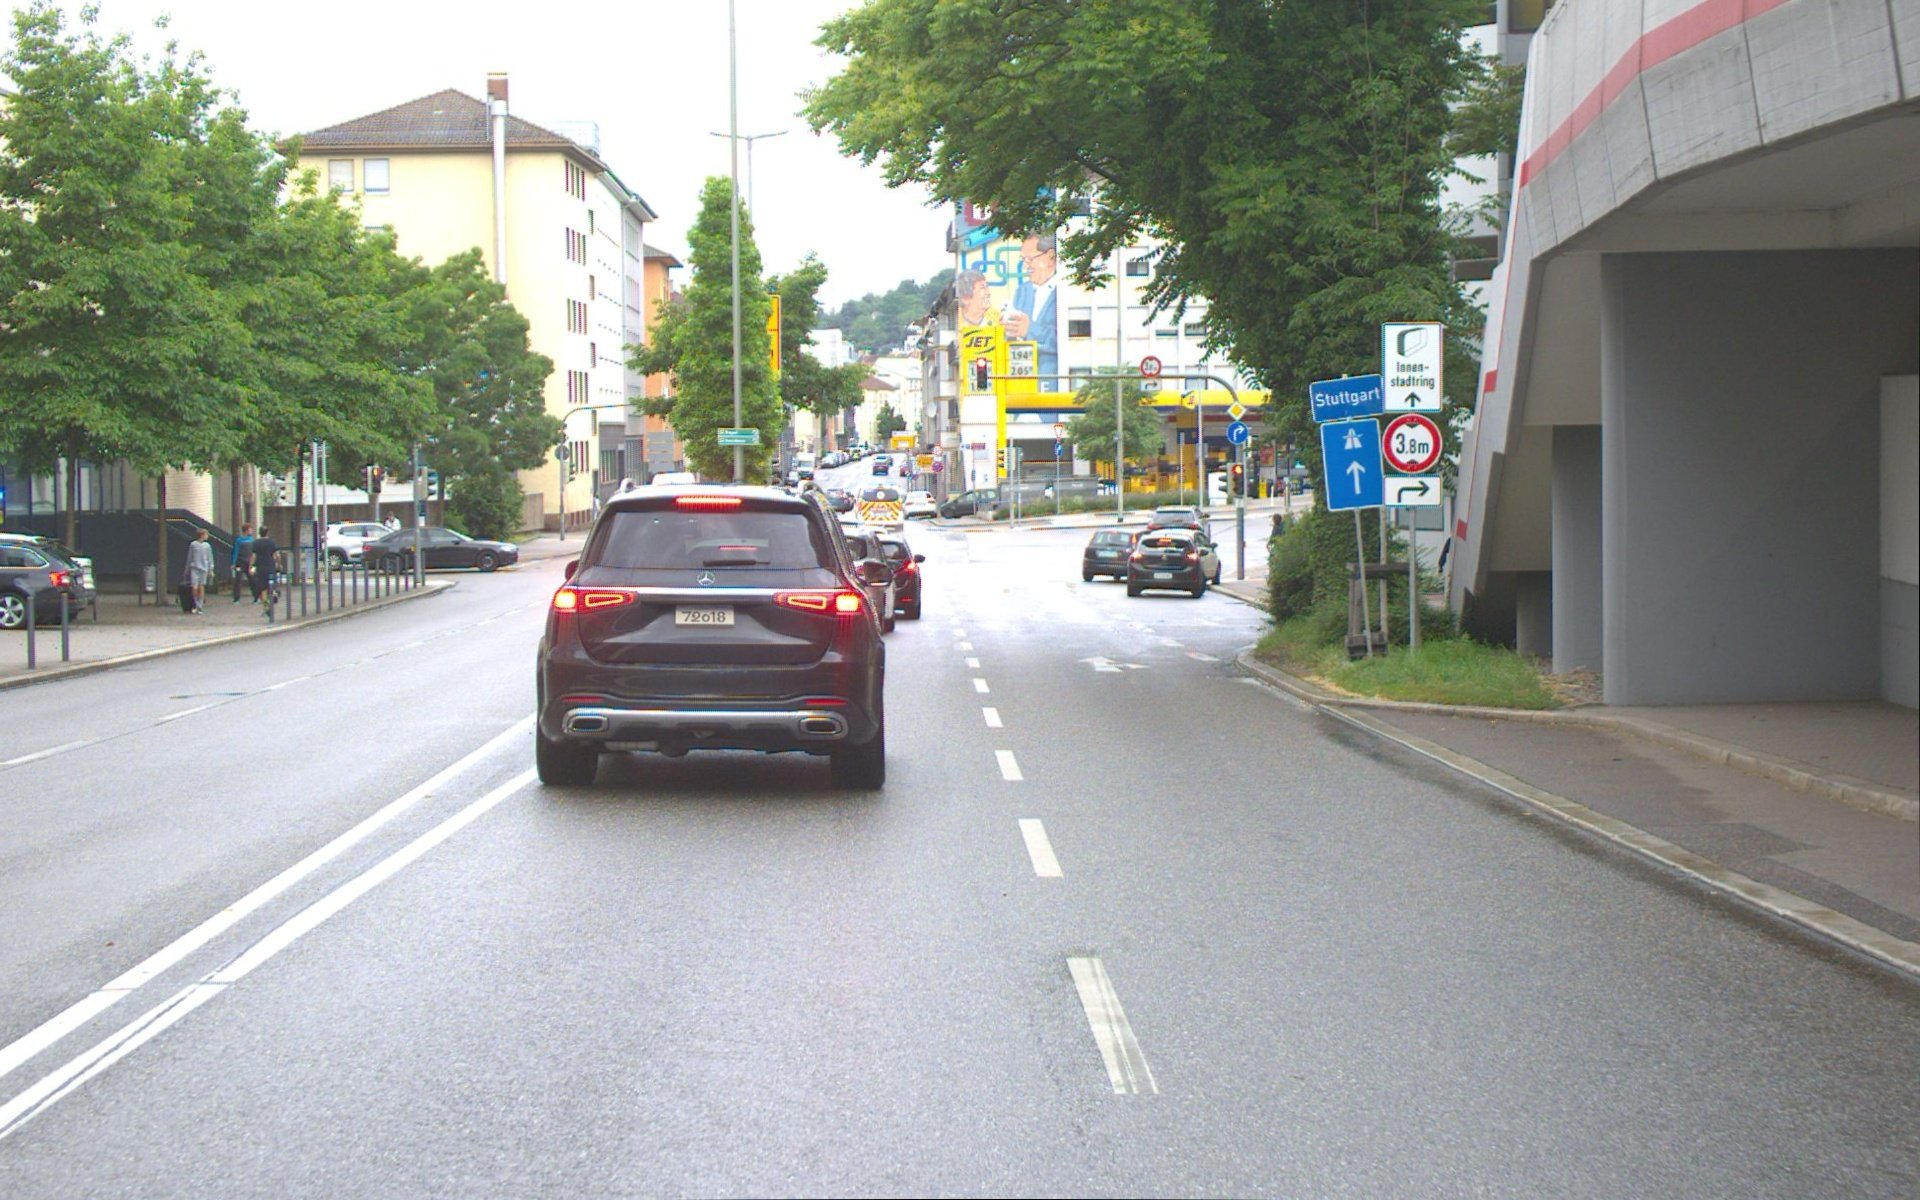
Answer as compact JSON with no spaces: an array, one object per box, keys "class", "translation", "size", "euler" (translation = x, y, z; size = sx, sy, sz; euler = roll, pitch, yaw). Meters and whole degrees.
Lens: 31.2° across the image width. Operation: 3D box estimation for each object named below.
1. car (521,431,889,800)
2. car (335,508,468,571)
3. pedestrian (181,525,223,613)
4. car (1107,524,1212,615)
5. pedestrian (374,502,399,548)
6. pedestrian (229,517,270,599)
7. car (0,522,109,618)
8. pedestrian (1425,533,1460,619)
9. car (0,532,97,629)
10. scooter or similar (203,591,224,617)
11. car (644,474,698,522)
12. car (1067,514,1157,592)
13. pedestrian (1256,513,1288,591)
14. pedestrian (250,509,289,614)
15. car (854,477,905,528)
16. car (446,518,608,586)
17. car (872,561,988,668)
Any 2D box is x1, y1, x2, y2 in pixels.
[{"class":"car","translation":[-1.497,0.071,21.124],"size":[1.993,2.007,4.000],"euler":[1,0,-2]},{"class":"car","translation":[-17.484,-1.883,107.572],"size":[3.986,1.936,2.001],"euler":[0,1,-13]},{"class":"pedestrian","translation":[-14.820,-0.608,67.227],"size":[0.676,1.691,0.479],"euler":[2,2,-2]},{"class":"car","translation":[4.595,-0.740,79.617],"size":[1.993,2.007,4.001],"euler":[1,2,-3]},{"class":"pedestrian","translation":[-18.363,-2.404,110.088],"size":[0.711,1.457,0.598],"euler":[1,0,-2]},{"class":"pedestrian","translation":[-15.131,-0.885,73.231],"size":[0.688,1.719,0.754],"euler":[1,-1,-2]},{"class":"car","translation":[-17.129,-0.553,59.472],"size":[4.415,1.568,2.001],"euler":[1,3,-6]},{"class":"pedestrian","translation":[8.626,-0.433,61.481],"size":[0.551,1.527,0.488],"euler":[1,0,5]},{"class":"car","translation":[-16.832,-0.343,57.398],"size":[4.467,1.581,2.001],"euler":[0,1,-7]},{"class":"scooter or similar","translation":[-14.652,0.075,67.478],"size":[0.280,0.499,0.616],"euler":[1,0,-1]},{"class":"car","translation":[-11.978,-4.225,142.833],"size":[1.993,1.868,5.142],"euler":[1,0,-3]},{"class":"car","translation":[4.027,-1.242,91.591],"size":[1.993,2.007,4.000],"euler":[1,0,-3]},{"class":"pedestrian","translation":[7.802,-1.197,85.881],"size":[0.663,1.911,0.728],"euler":[1,0,13]},{"class":"pedestrian","translation":[-13.417,-0.748,66.832],"size":[0.587,2.007,0.749],"euler":[1,-2,-3]},{"class":"car","translation":[-3.299,-3.986,140.492],"size":[1.993,2.006,4.001],"euler":[1,2,-2]},{"class":"car","translation":[-13.095,-1.456,103.822],"size":[4.803,2.006,2.001],"euler":[0,2,-8]},{"class":"car","translation":[-0.530,0.221,57.902],"size":[1.703,1.710,3.444],"euler":[1,0,-4]}]
